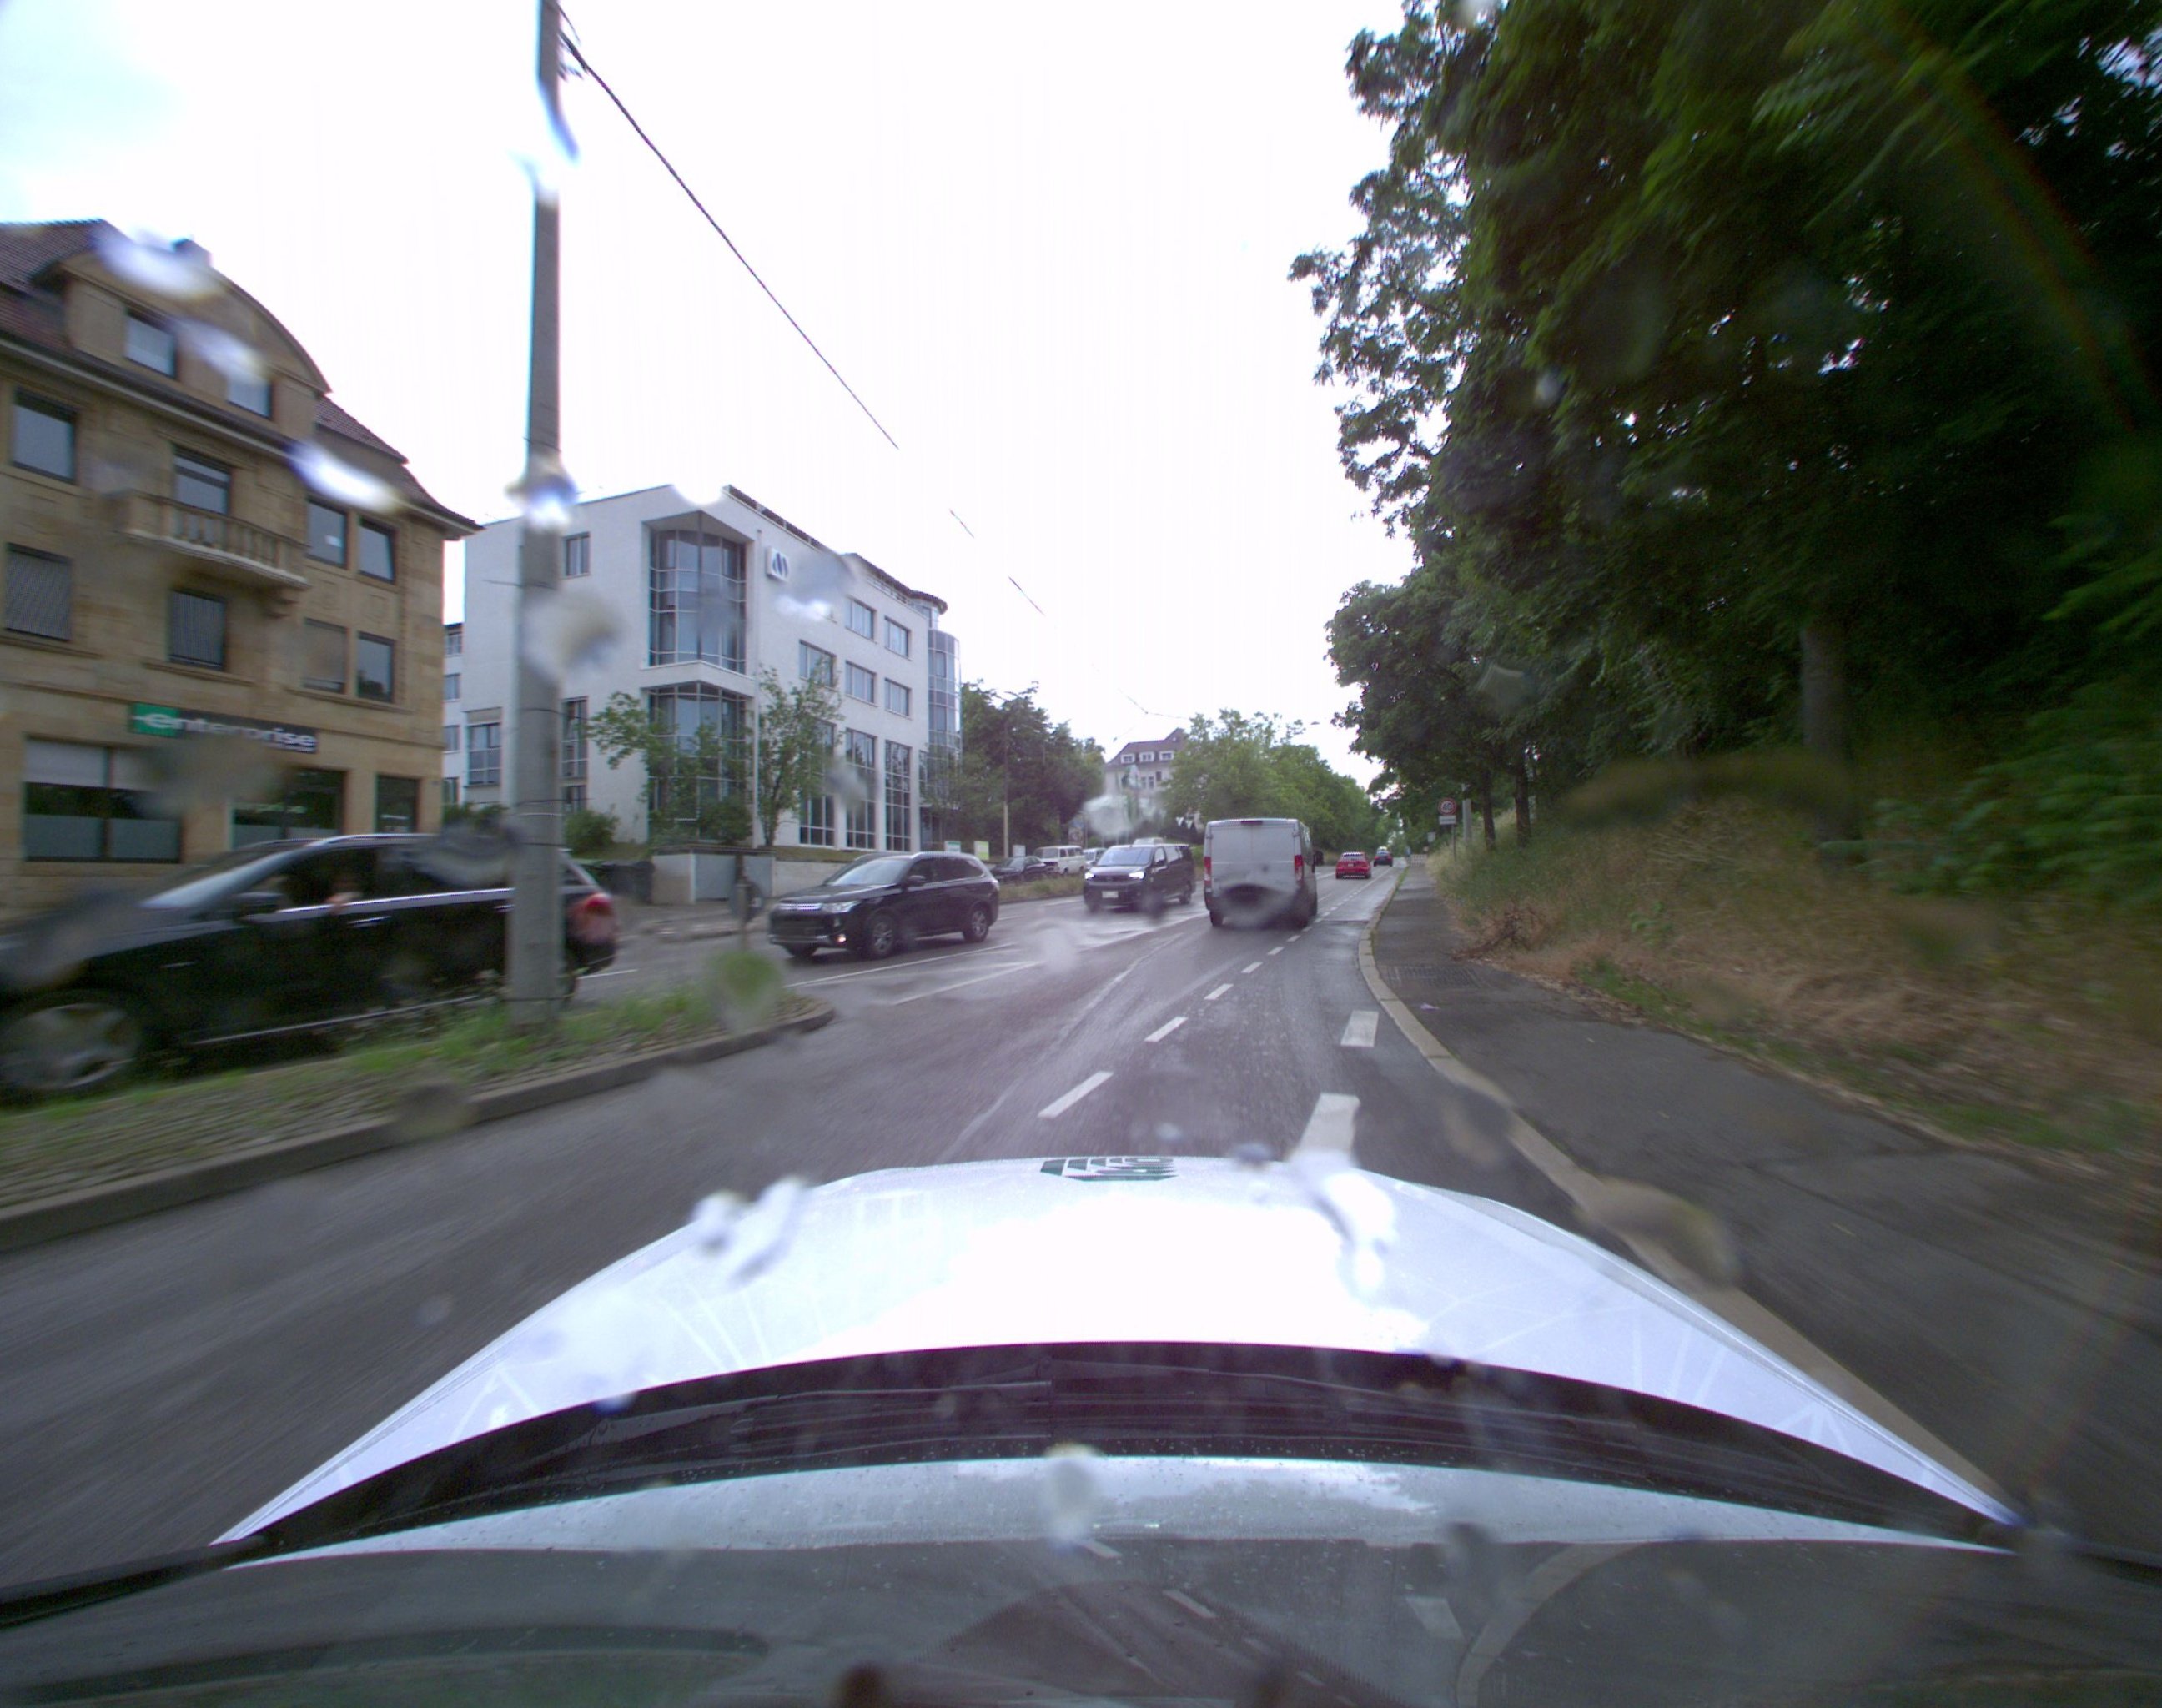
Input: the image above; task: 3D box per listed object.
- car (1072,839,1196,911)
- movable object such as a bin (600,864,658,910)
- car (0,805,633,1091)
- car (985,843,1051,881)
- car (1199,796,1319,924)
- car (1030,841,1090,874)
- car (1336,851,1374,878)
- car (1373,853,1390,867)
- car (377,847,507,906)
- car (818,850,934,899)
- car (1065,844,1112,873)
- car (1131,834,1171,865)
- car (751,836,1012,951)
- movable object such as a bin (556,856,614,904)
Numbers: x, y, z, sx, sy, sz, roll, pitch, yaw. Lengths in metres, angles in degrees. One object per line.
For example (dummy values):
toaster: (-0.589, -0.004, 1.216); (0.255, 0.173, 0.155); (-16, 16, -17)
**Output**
car: (1.714, 0.555, 23.968); (1.997, 1.867, 5.069); (-2, 0, 23)
movable object such as a bin: (-14.437, 1.035, 26.035); (1.177, 1.406, 1.103); (0, 1, 18)
car: (-6.591, 0.585, 6.881); (1.937, 1.697, 4.651); (-2, -1, 24)
car: (-3.053, 0.342, 40.369); (1.597, 1.721, 4.014); (-2, 0, 21)
car: (4.207, 0.136, 18.618); (2.033, 2.516, 4.968); (-1, 0, 19)
car: (-1.127, 0.152, 46.681); (1.755, 1.746, 4.608); (-2, 0, 21)
car: (15.016, 0.601, 44.485); (1.678, 1.426, 3.386); (0, -2, 23)
car: (28.248, 0.573, 76.440); (1.332, 1.139, 2.302); (-2, -3, 24)
car: (-19.529, 0.711, 24.933); (3.018, 1.676, 1.723); (-2, -3, 18)
car: (-7.375, 0.691, 29.842); (1.674, 1.534, 4.696); (-2, 0, 21)
car: (0.510, 0.254, 50.732); (1.578, 1.695, 3.801); (-2, 0, 21)
car: (5.837, -0.416, 67.292); (1.947, 2.443, 5.683); (-2, 0, 18)
car: (-3.120, 0.649, 13.898); (1.673, 1.605, 4.755); (-2, -3, 25)
movable object such as a bin: (-16.289, 0.856, 26.770); (1.234, 1.541, 1.045); (-1, -1, 17)
